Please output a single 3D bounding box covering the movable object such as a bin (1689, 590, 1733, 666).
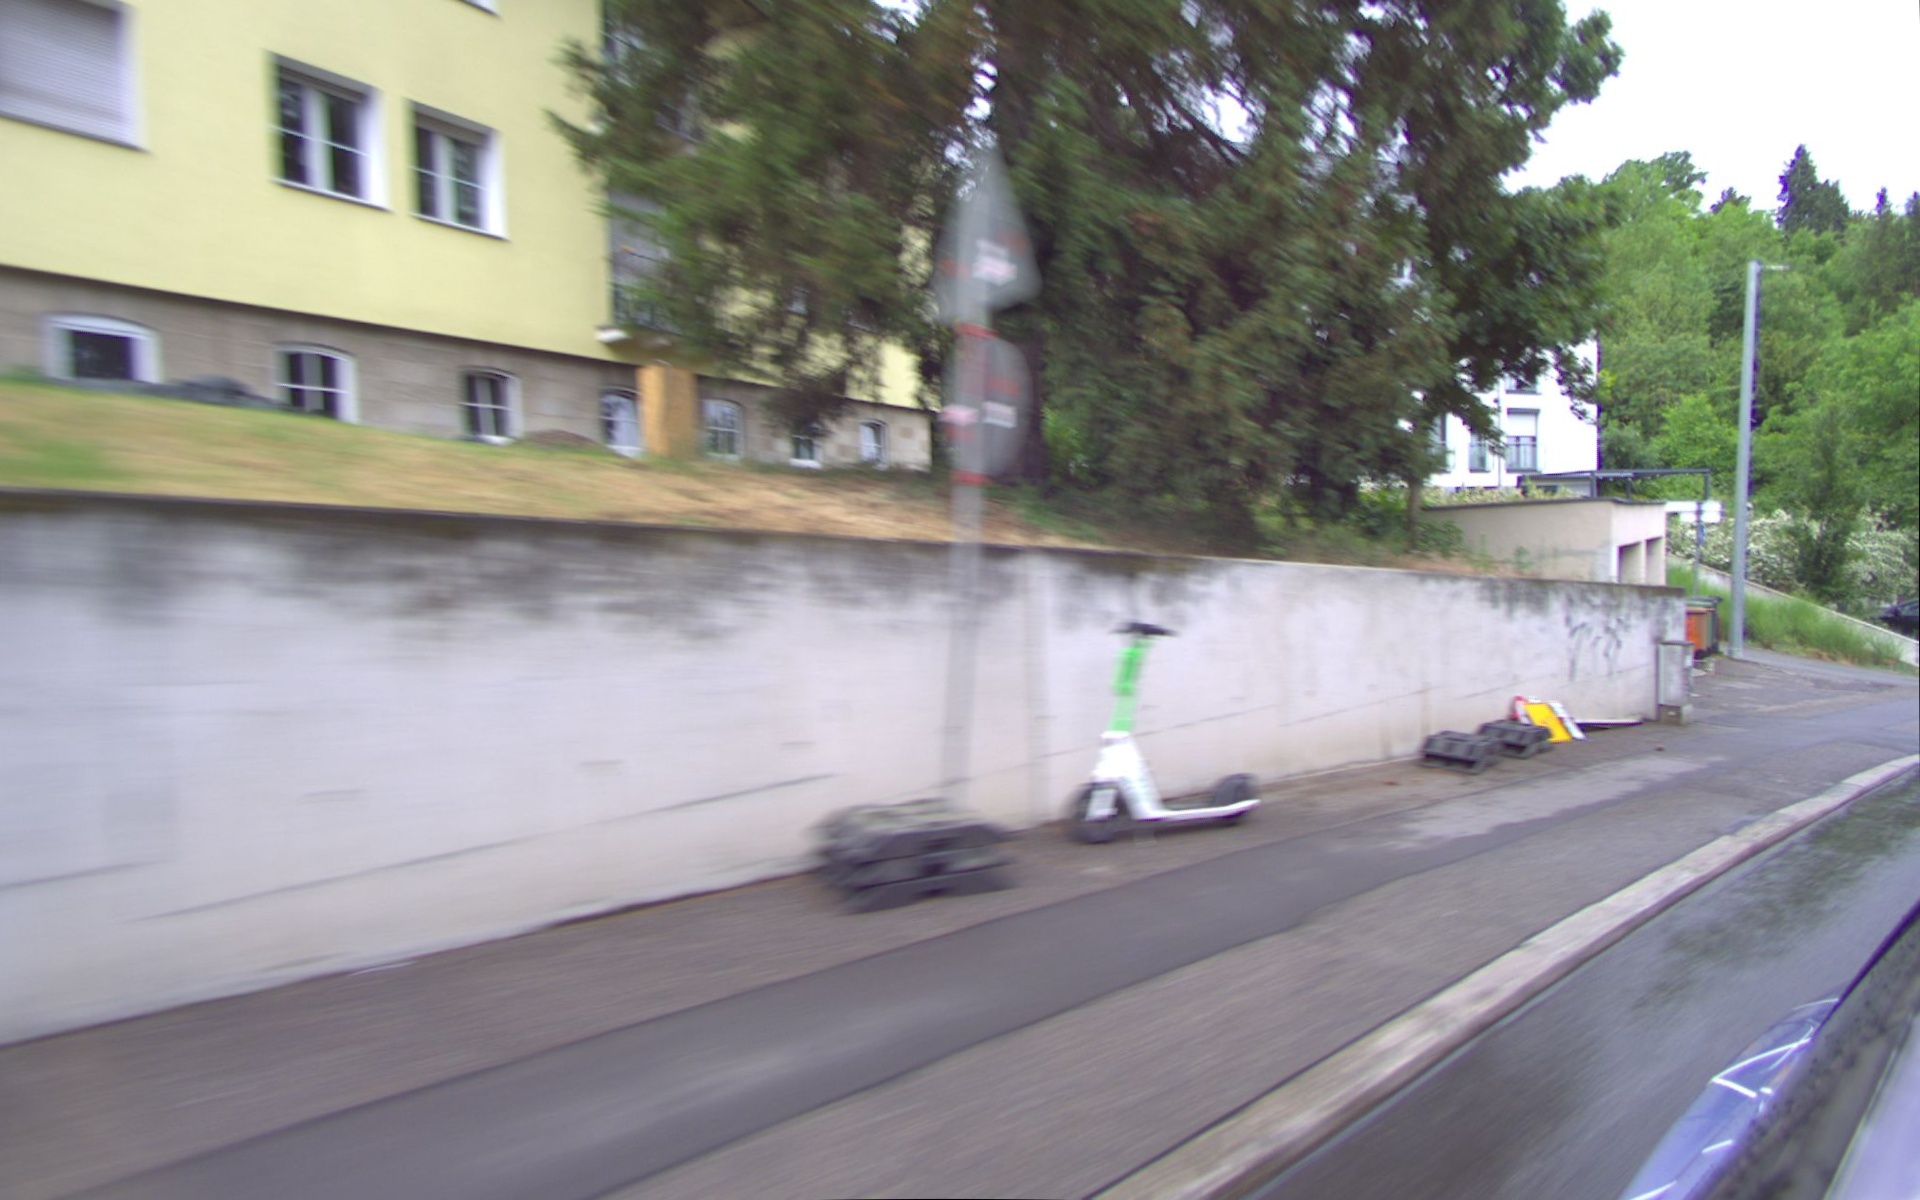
[{"bbox_3d":[14.052,0.510,18.930,0.456,1.367,0.554,0,2,-44],"label":"movable object such as a bin"}]

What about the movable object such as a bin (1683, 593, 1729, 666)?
[{"bbox_3d":[13.695,0.531,18.585,0.446,1.283,0.563,0,2,-44],"label":"movable object such as a bin"}]

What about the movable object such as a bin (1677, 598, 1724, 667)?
[{"bbox_3d":[13.339,0.581,18.239,0.436,1.190,0.574,0,2,-43],"label":"movable object such as a bin"}]

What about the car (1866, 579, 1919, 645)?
[{"bbox_3d":[25.951,0.381,26.125,1.549,1.651,3.473,0,5,-33],"label":"car"}]

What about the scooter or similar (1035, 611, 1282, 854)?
[{"bbox_3d":[1.122,0.655,5.596,1.346,1.147,0.599,0,2,-40],"label":"scooter or similar"}]
